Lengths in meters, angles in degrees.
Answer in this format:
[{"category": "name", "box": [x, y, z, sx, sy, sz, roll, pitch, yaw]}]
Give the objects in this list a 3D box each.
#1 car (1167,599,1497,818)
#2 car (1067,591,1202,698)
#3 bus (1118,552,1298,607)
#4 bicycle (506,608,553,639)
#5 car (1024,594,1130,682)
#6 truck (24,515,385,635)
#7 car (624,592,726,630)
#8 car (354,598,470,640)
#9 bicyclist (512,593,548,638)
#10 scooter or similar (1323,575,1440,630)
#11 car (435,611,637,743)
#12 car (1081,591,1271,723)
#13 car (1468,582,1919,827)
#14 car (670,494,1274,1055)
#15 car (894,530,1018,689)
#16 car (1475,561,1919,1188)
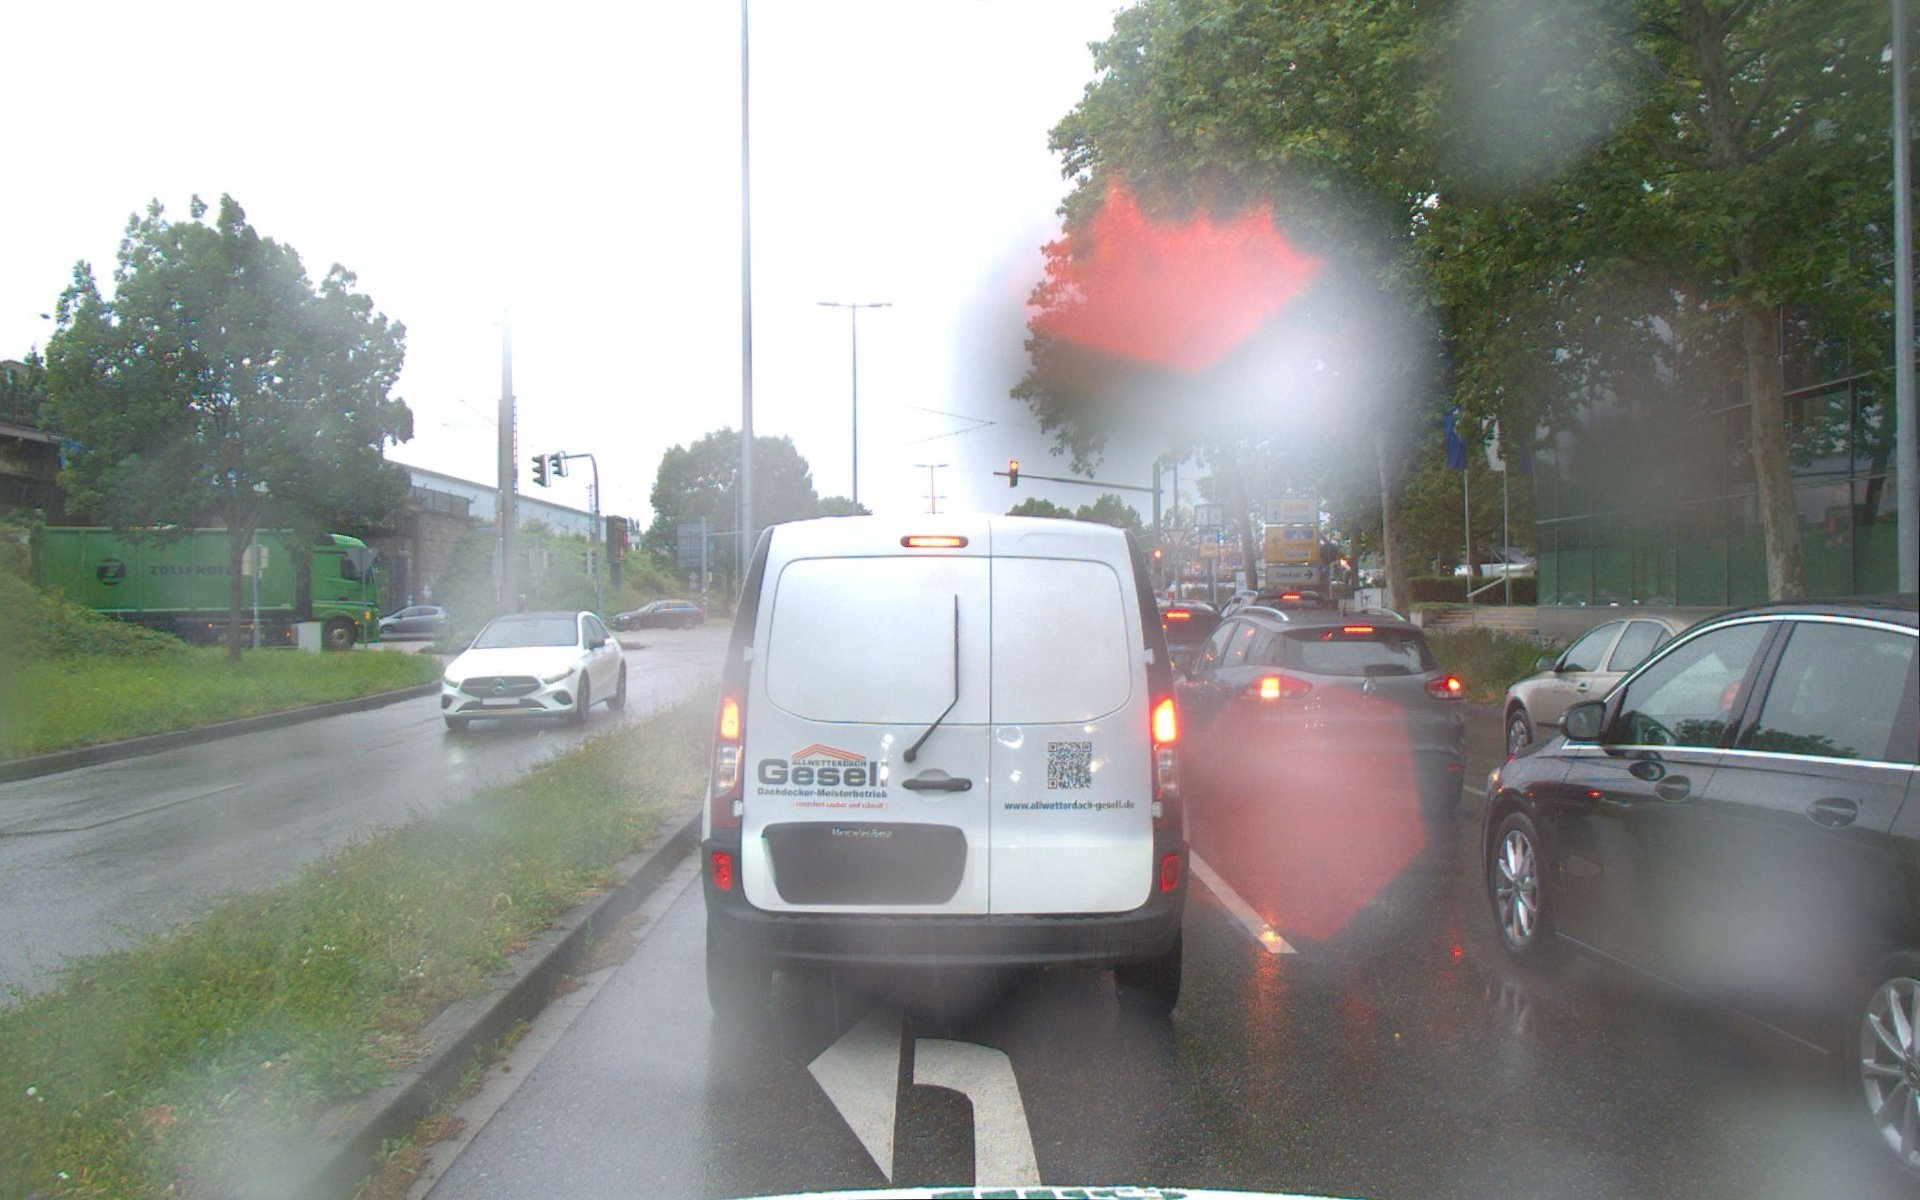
[{"category": "car", "box": [2.766, 0.738, 13.139, 1.649, 1.433, 3.842, 1, 0, -2]}, {"category": "car", "box": [2.872, 0.684, 27.898, 1.816, 1.678, 3.842, 0, 0, -1]}, {"category": "bus", "box": [16.601, -1.388, 111.155, 11.727, 3.483, 2.315, -1, 1, -1]}, {"category": "bicycle", "box": [-14.405, 0.767, 55.322, 1.027, 0.968, 2.866, -1, 1, -25]}, {"category": "car", "box": [2.307, 0.736, 33.552, 1.816, 1.678, 3.842, 0, 0, -1]}, {"category": "truck", "box": [-23.162, -0.737, 51.224, 9.956, 3.430, 2.316, 0, 0, -37]}, {"category": "car", "box": [-13.970, 0.526, 81.074, 4.785, 1.748, 1.807, -1, 1, -14]}, {"category": "car", "box": [-25.303, 0.848, 76.424, 4.823, 1.748, 1.793, -2, 1, -33]}, {"category": "bicyclist", "box": [-14.389, 0.513, 55.301, 1.028, 1.475, 0.723, -1, 1, -26]}, {"category": "scooter or similar", "box": [19.672, 0.106, 77.364, 1.878, 2.489, 5.239, 0, 0, -41]}, {"category": "car", "box": [-5.624, 0.966, 22.400, 1.699, 1.546, 4.046, -3, -1, -1]}, {"category": "car", "box": [2.593, 0.631, 20.666, 1.816, 1.486, 3.842, 0, 0, -1]}, {"category": "car", "box": [5.711, 0.704, 13.443, 1.838, 1.641, 3.999, 2, 1, -1]}, {"category": "car", "box": [0.010, 0.544, 7.647, 1.953, 1.807, 4.584, 0, 0, -1]}, {"category": "car", "box": [-0.084, 0.129, 26.203, 1.816, 2.336, 3.842, 0, 0, -1]}, {"category": "car", "box": [3.242, 0.693, 5.452, 1.712, 1.582, 4.089, 0, 0, -2]}]
